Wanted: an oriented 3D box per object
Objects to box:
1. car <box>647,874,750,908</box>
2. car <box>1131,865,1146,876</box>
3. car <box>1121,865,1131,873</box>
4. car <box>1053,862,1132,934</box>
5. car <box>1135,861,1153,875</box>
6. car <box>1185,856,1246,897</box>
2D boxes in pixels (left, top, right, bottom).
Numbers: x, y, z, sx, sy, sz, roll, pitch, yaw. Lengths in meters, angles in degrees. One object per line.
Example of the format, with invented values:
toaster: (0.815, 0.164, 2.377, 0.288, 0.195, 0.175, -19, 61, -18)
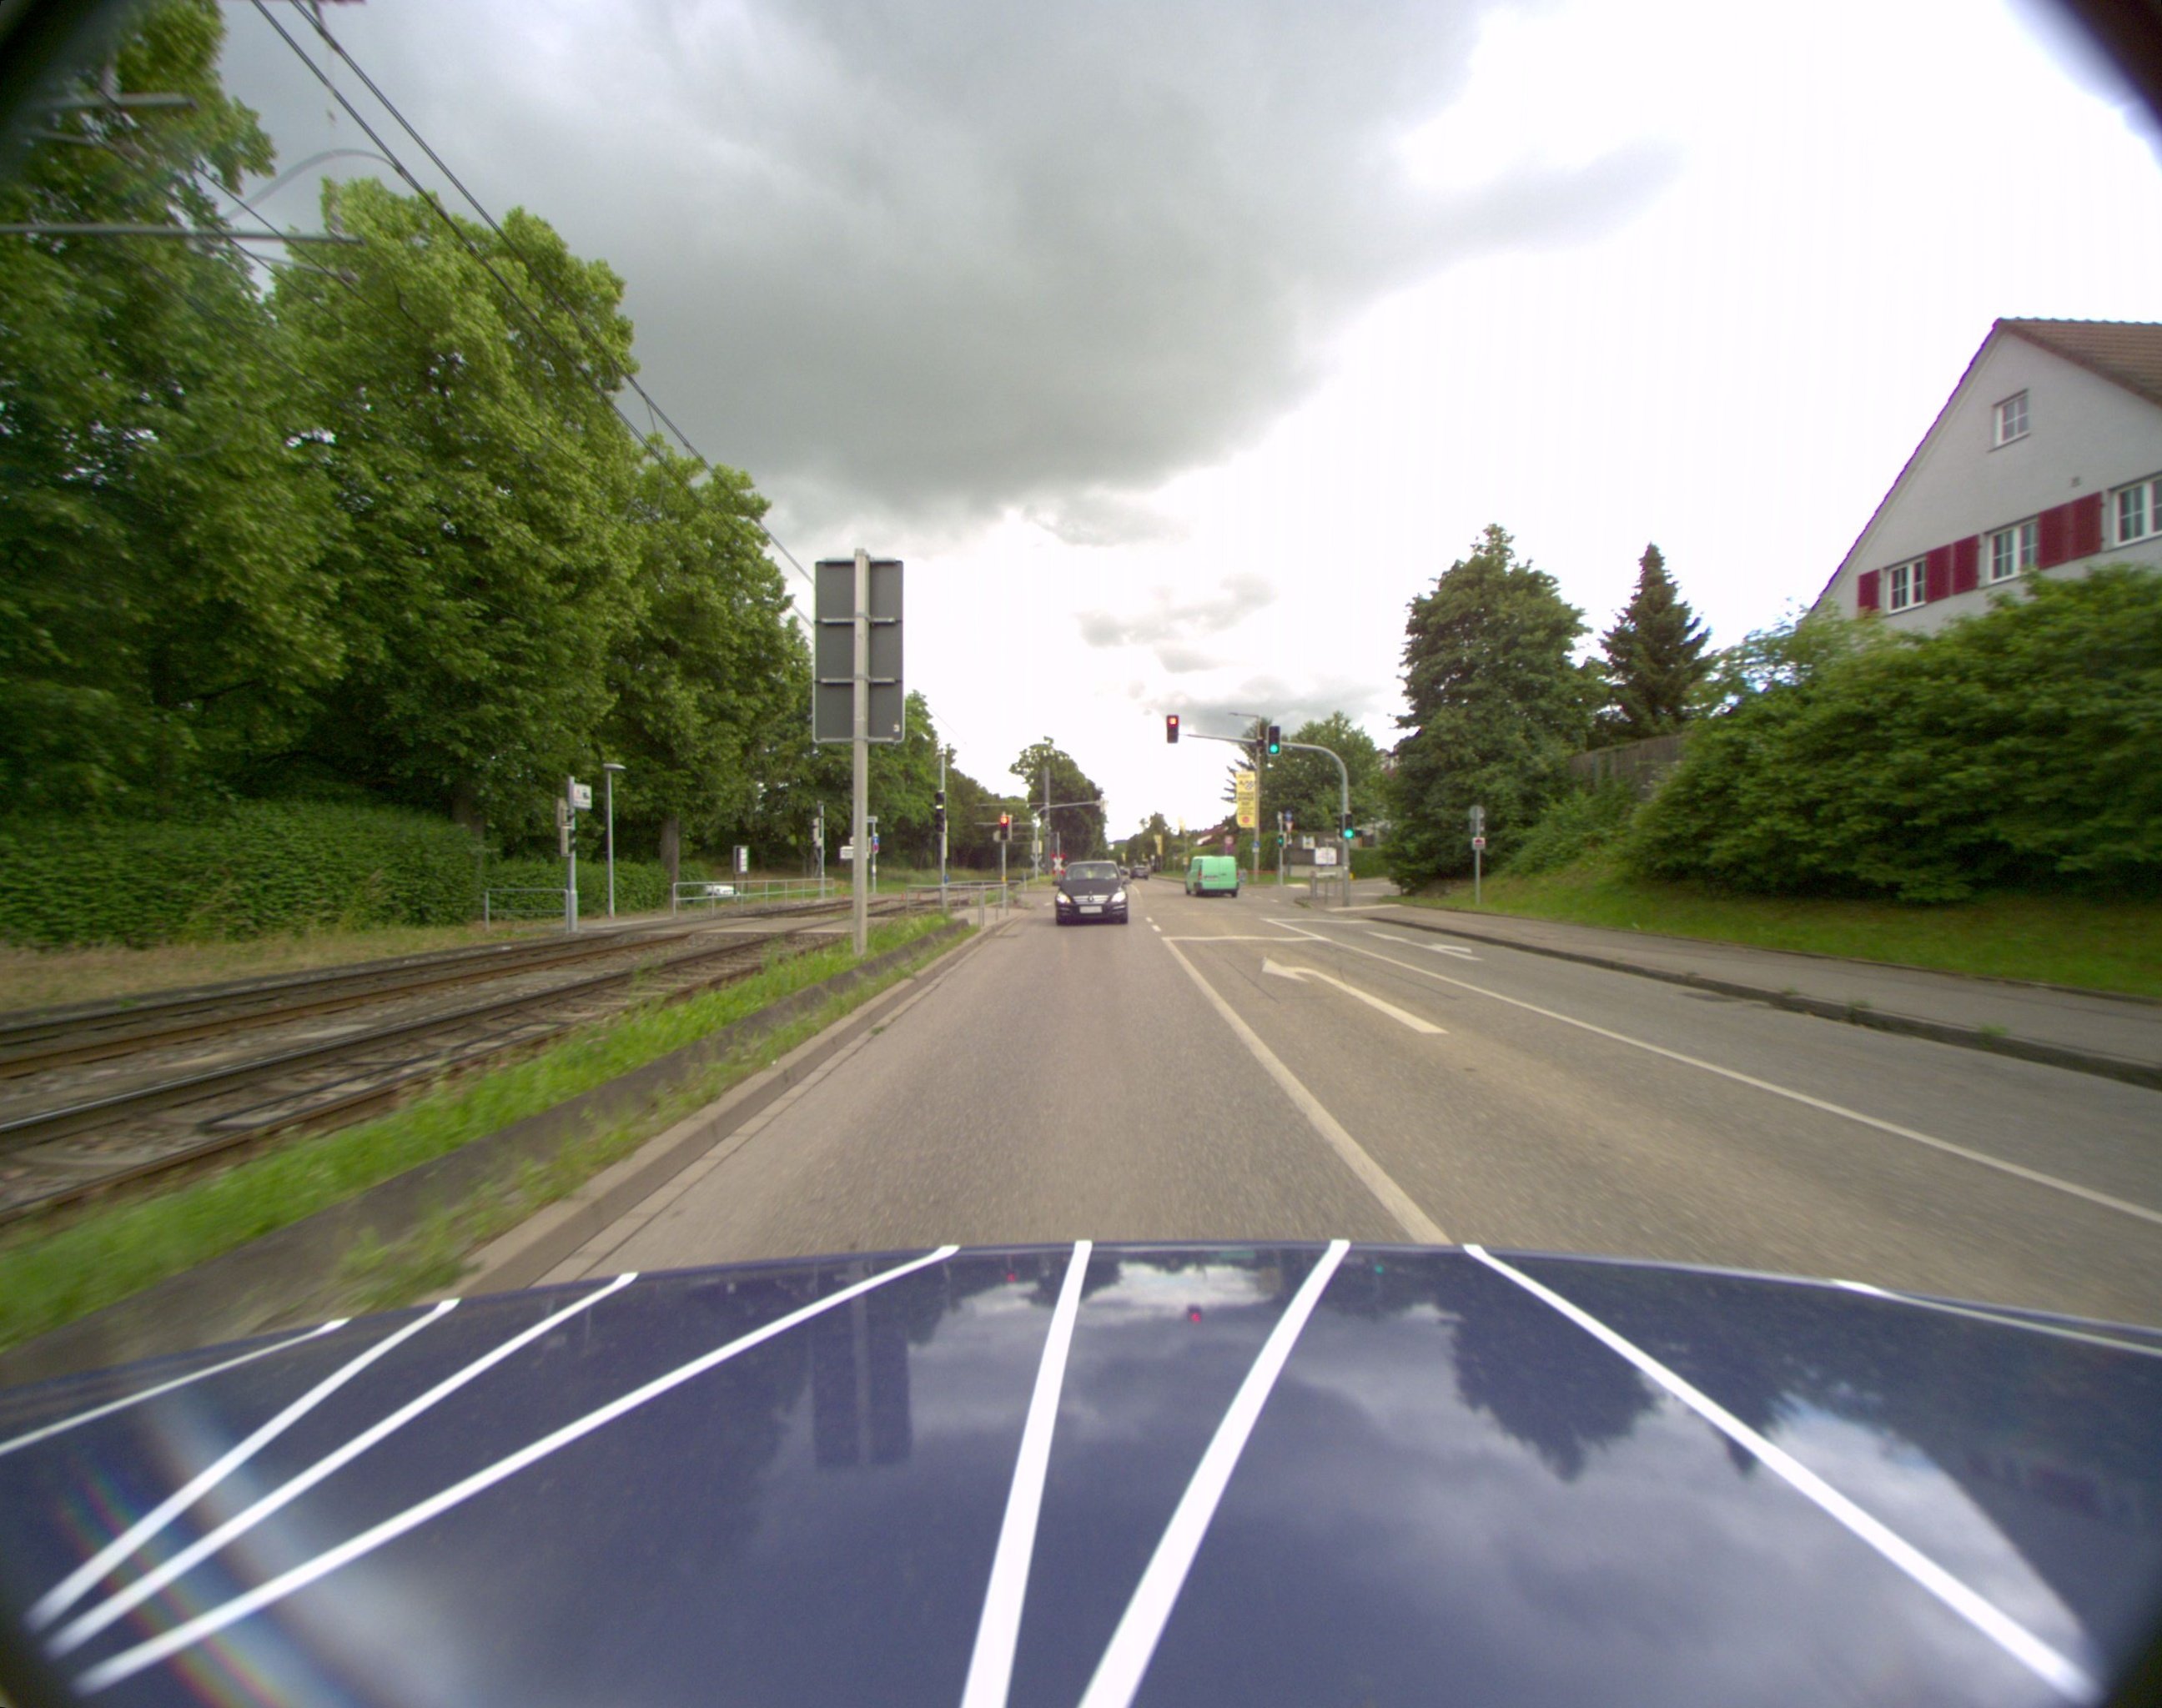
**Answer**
car: (-18.463, 1.780, 36.827, 3.997, 1.376, 1.785, -3, 0, -1)
car: (7.791, 2.224, 103.878, 1.879, 1.501, 4.209, 1, -1, 2)
car: (10.034, 3.332, 169.709, 1.903, 1.569, 4.122, 1, -1, 2)
car: (0.292, 1.002, 18.845, 1.749, 1.558, 4.122, 0, 0, 1)
car: (7.482, 1.680, 90.918, 1.903, 1.569, 4.280, 1, -1, 2)
car: (6.206, 0.994, 35.534, 2.063, 1.799, 4.730, 0, -1, 1)
